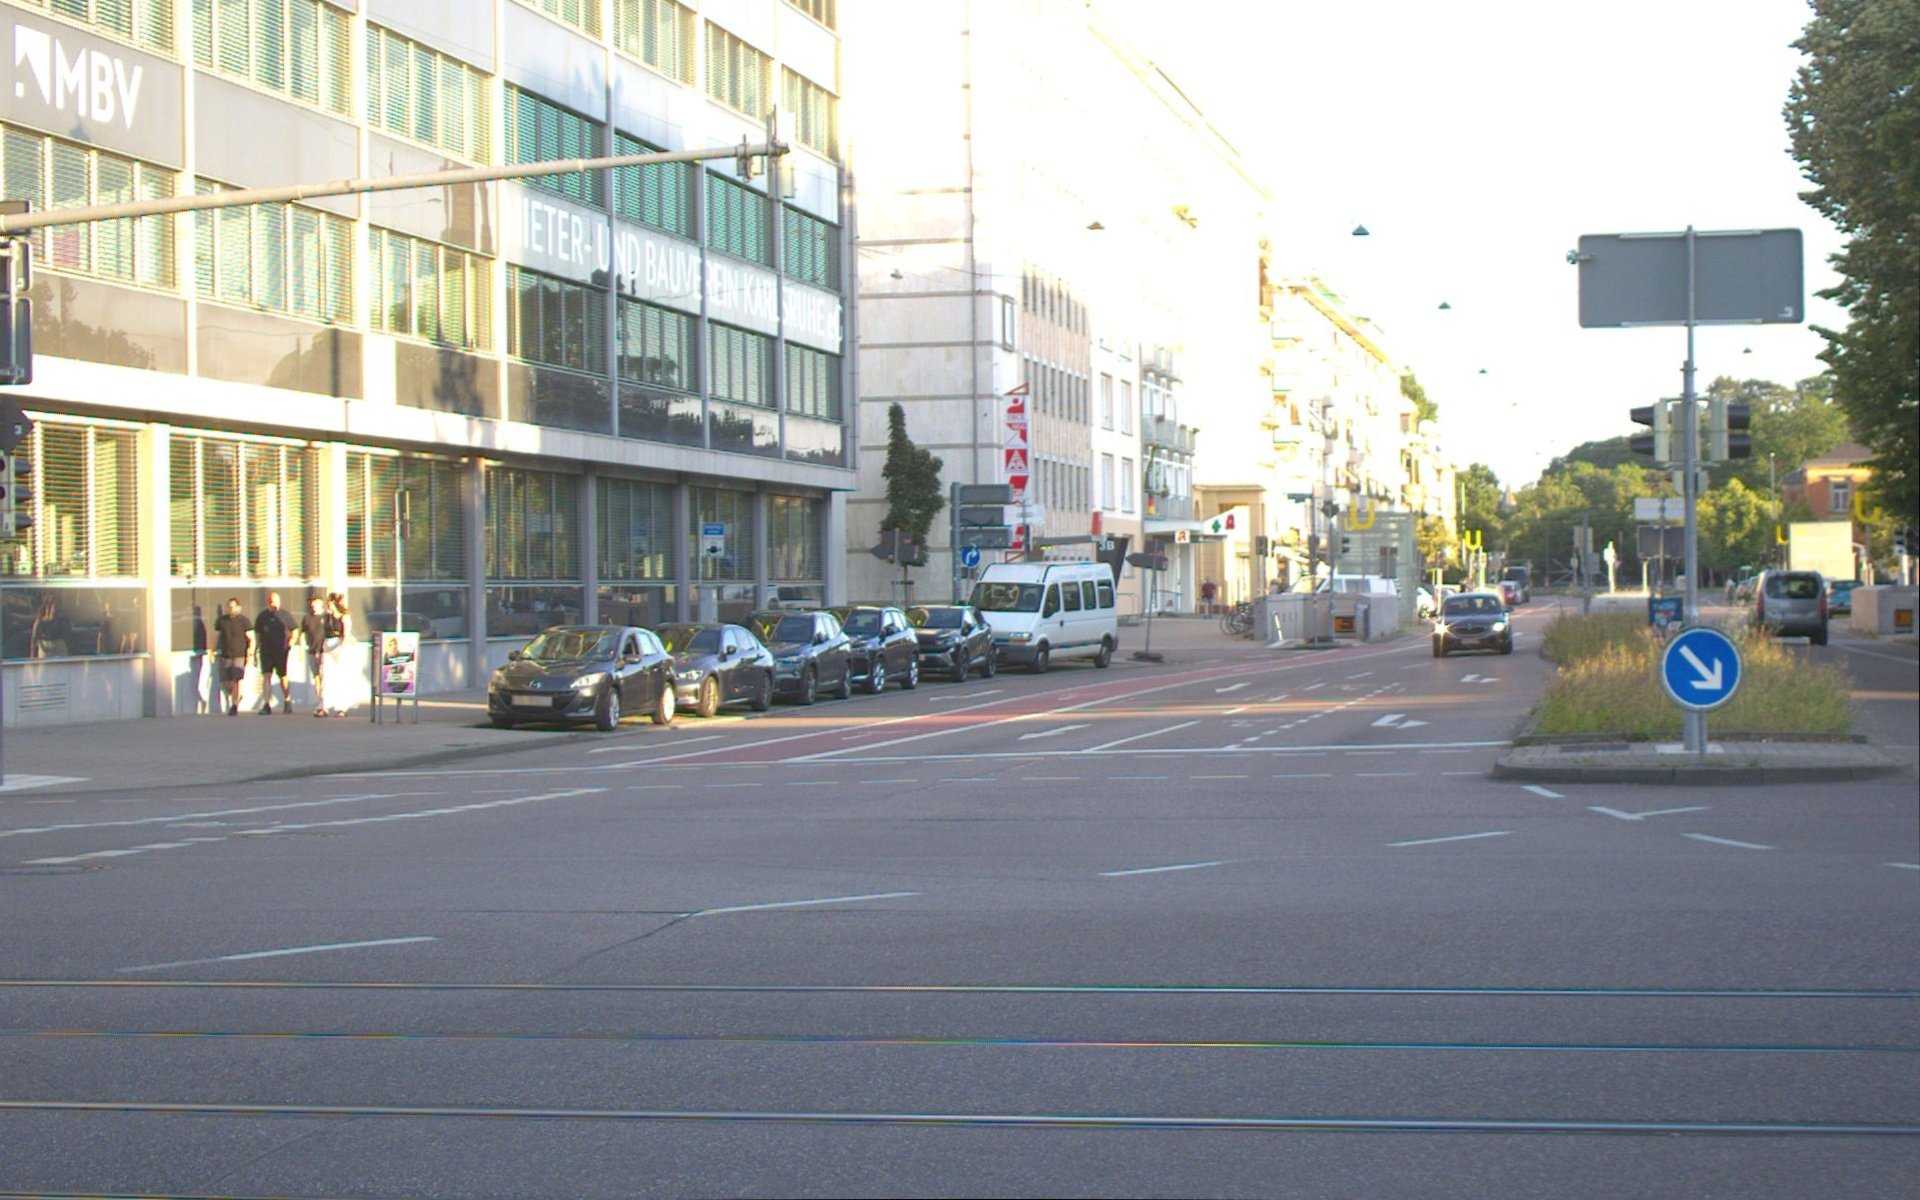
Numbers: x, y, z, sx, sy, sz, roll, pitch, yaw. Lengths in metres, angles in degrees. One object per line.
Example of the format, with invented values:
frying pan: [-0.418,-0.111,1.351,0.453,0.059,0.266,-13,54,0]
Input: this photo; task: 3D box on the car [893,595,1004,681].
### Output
car: [-0.211,0.766,71.526,1.500,1.659,3.866,3,1,11]

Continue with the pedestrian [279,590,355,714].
pedestrian: [-9.237,0.736,49.405,0.841,1.762,0.785,-1,0,8]

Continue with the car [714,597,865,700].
car: [-2.953,0.825,60.382,1.694,1.659,3.866,3,1,11]

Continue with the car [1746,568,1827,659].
car: [20.743,0.317,86.362,1.885,2.230,3.908,-1,0,13]

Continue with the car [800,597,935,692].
car: [-1.737,0.817,65.533,1.694,1.659,3.866,3,1,11]

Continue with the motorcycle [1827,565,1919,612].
motorcycle: [35.561,-0.452,133.876,3.489,1.749,0.925,-1,0,15]

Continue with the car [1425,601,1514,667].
car: [11.851,0.774,79.761,1.694,1.416,4.171,-1,0,13]

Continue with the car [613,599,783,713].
car: [-4.175,0.869,55.394,1.694,1.659,3.866,3,1,11]

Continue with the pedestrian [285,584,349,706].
pedestrian: [-9.411,0.651,50.335,0.739,1.762,0.672,-1,0,8]

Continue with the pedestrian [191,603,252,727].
pedestrian: [-10.682,0.934,49.739,0.653,1.762,0.646,-1,0,8]

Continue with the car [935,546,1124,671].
car: [1.649,0.192,78.025,2.240,2.620,5.846,3,1,22]

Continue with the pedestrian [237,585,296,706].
pedestrian: [-10.167,0.660,50.417,0.653,1.762,0.646,-1,0,8]

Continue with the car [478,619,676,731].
car: [-5.455,1.045,49.428,1.694,1.406,3.866,3,1,11]

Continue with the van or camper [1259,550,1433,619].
van or camper: [13.387,-0.534,119.270,5.506,2.159,2.245,-2,0,-18]
